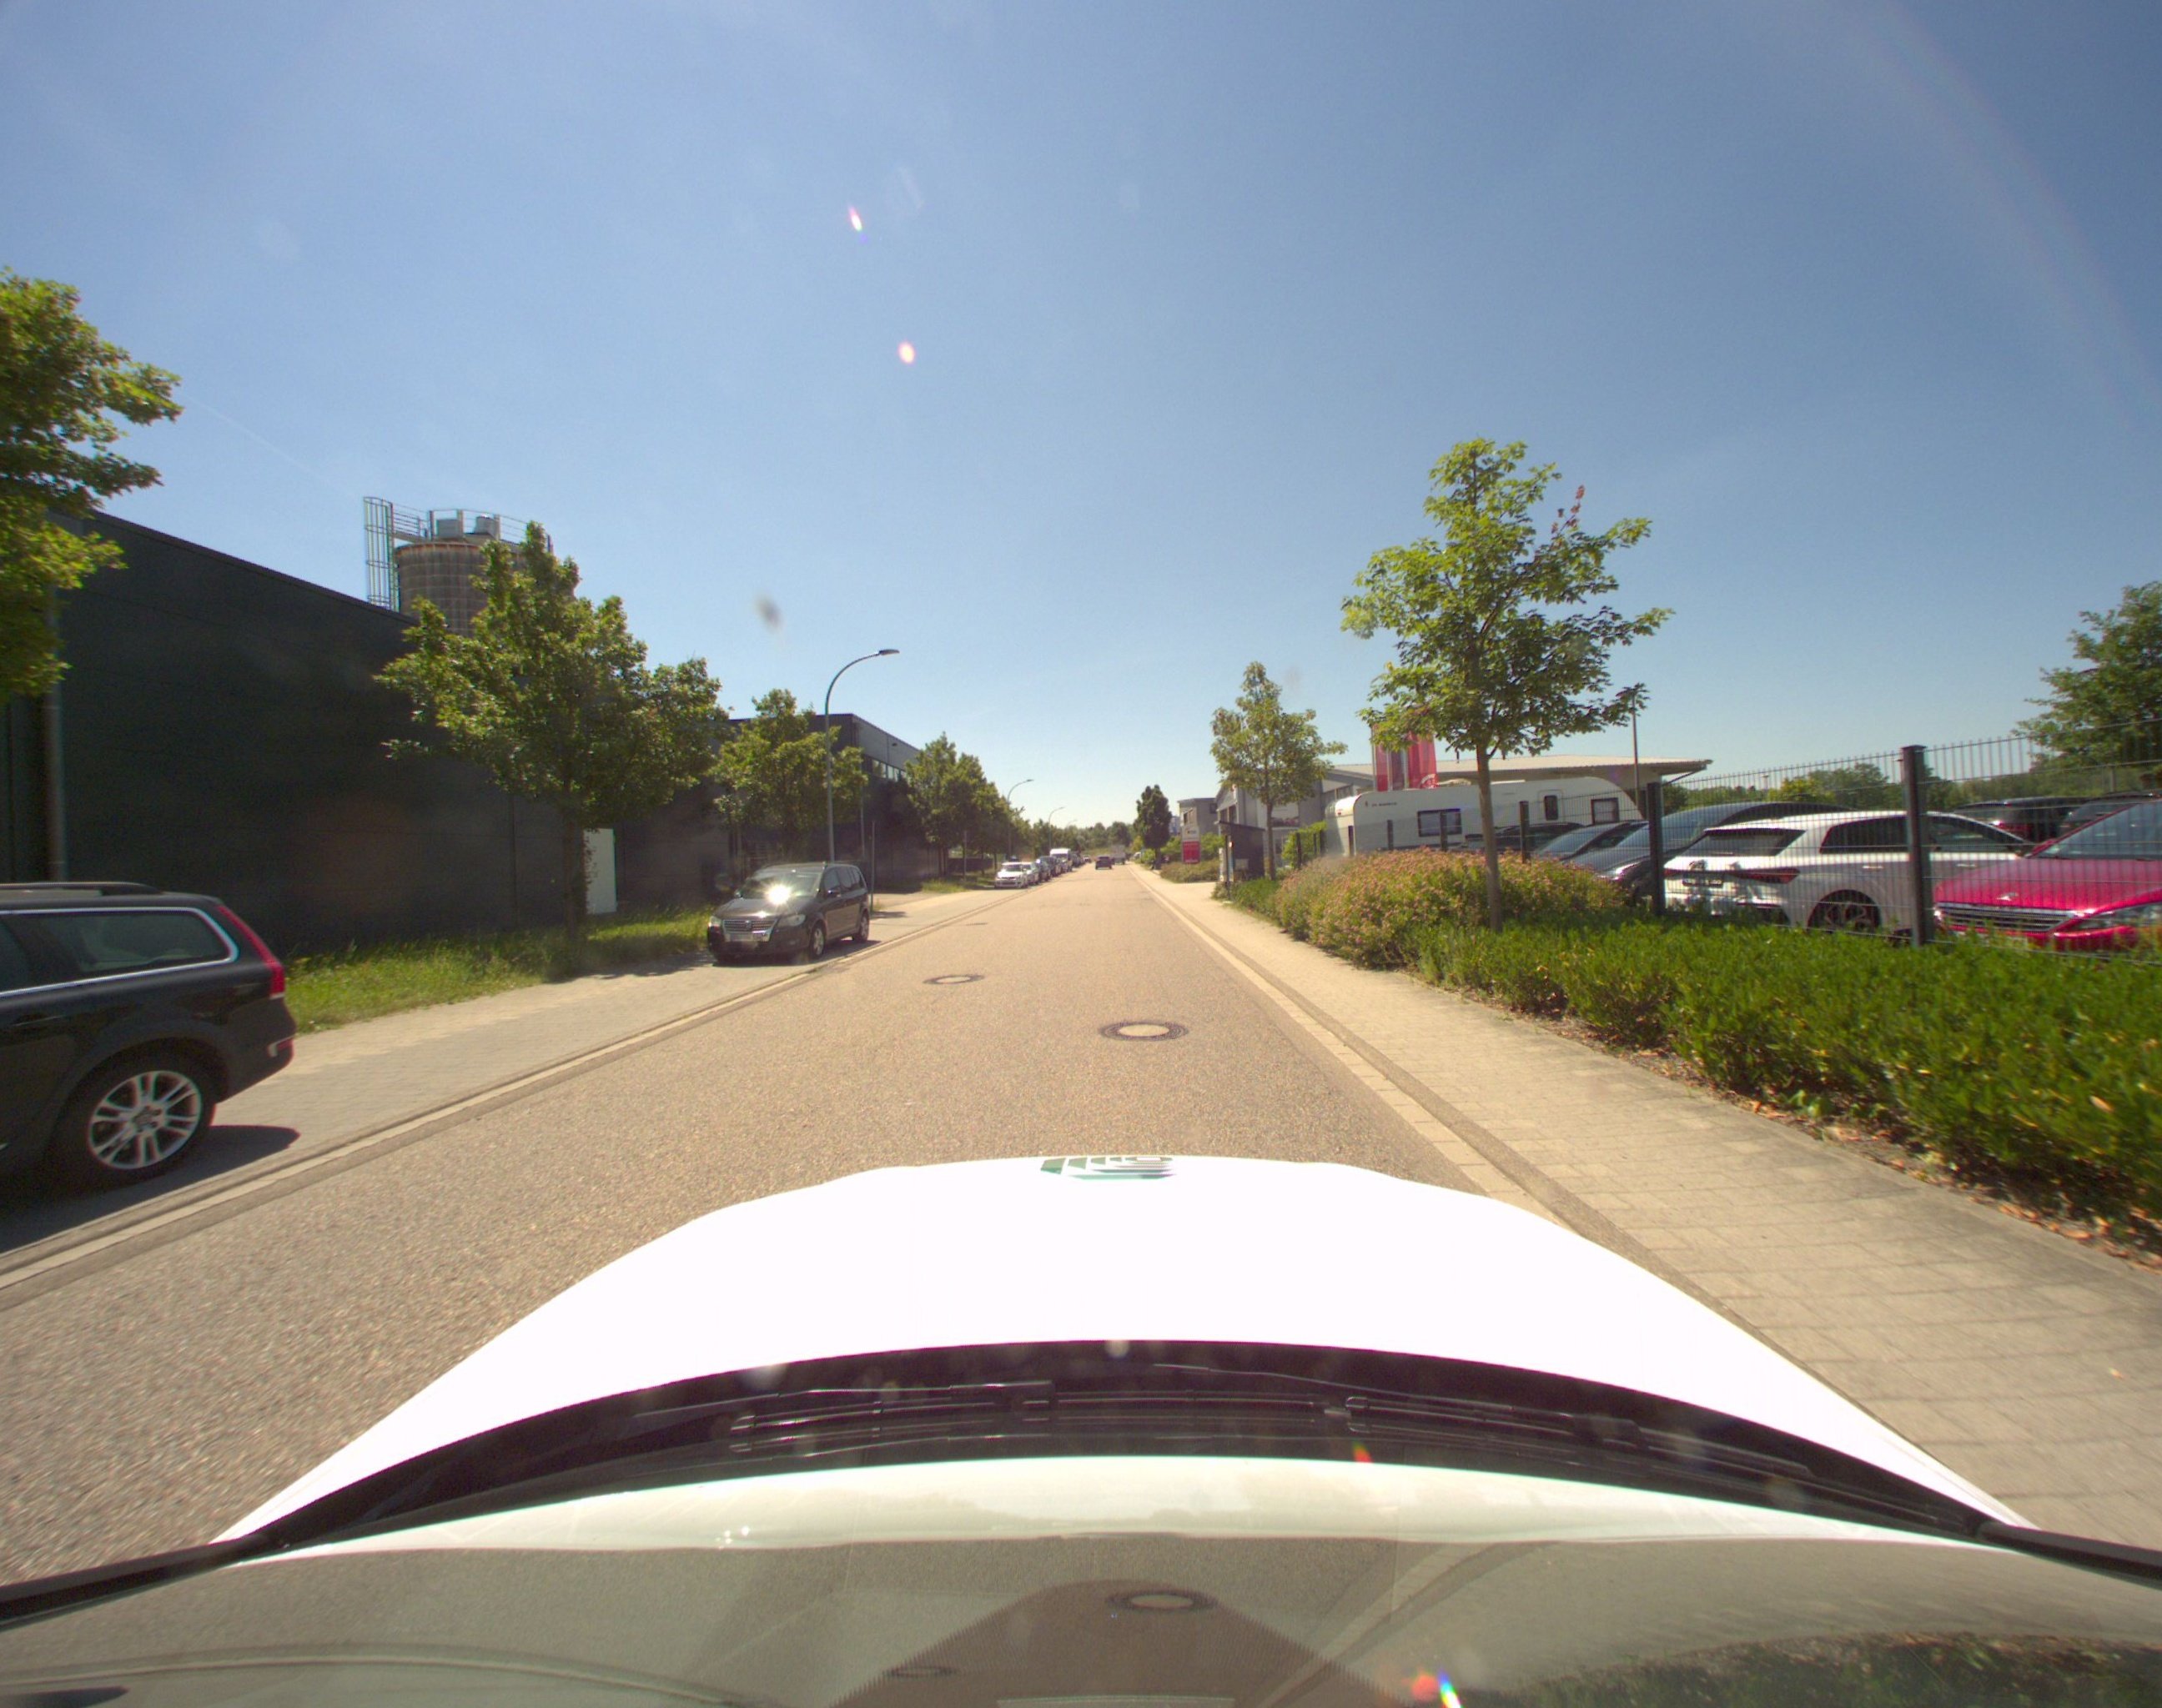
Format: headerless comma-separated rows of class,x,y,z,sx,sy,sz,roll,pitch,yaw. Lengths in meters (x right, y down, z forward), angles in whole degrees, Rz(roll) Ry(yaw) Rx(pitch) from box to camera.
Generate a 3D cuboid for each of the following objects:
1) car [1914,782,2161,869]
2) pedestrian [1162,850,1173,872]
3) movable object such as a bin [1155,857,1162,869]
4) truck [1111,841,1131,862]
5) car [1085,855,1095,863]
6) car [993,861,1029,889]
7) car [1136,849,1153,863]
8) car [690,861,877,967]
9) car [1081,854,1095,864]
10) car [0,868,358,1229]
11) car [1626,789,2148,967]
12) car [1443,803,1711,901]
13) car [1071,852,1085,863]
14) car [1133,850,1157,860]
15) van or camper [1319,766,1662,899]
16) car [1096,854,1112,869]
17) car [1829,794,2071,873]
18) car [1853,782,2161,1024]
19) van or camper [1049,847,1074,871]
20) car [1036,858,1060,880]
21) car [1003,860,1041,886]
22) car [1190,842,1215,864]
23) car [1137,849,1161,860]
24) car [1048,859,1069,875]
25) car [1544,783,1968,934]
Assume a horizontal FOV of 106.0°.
car,20.373,-0.582,17.174,3.807,1.543,1.679,-3,0,1
pedestrian,6.746,0.559,63.366,0.501,1.613,0.710,-6,0,-16
movable object such as a bin,7.191,0.850,75.680,0.529,1.052,0.846,-3,-1,4
truck,5.863,-0.317,119.169,2.921,2.974,6.423,0,0,3
car,1.918,0.977,165.463,1.791,1.487,4.257,-2,0,4
car,-3.972,1.157,46.668,1.715,1.476,3.857,-2,0,0
car,8.733,0.290,112.540,1.987,1.803,4.139,-3,0,0
car,-5.231,0.966,14.989,1.764,1.611,4.248,-2,0,1
car,1.139,0.864,130.831,1.791,1.487,4.257,-2,0,4
car,-5.813,0.916,3.058,1.764,1.611,4.853,-2,0,1
car,8.381,0.228,8.743,3.830,1.440,1.805,-4,0,-2
car,9.663,-0.037,16.119,4.122,1.536,1.809,-4,0,1
car,-0.388,0.540,120.797,1.791,1.487,4.257,-2,0,4
car,10.720,0.158,136.638,3.863,1.750,1.751,0,0,-1
van or camper,9.419,-0.465,19.306,6.733,2.585,2.636,-3,0,1
car,2.564,0.851,91.443,1.782,1.623,3.811,0,0,2
car,20.674,-0.467,19.500,3.807,1.576,1.750,-3,0,1
car,8.430,0.172,5.895,3.877,1.475,1.807,-4,0,1
van or camper,-2.101,0.494,88.046,2.069,2.483,6.138,0,0,5
car,-2.825,1.245,70.633,1.792,1.814,4.254,-2,0,1
car,-3.699,1.177,51.927,1.792,1.476,4.558,-2,0,3
car,10.910,-0.066,73.308,1.777,1.783,4.911,-4,-1,4
car,11.145,0.145,134.147,3.863,1.750,1.751,0,0,-1
car,-2.256,1.285,81.129,1.792,1.449,4.254,-2,0,1
car,9.035,0.060,11.193,4.237,1.620,1.809,-4,0,1
